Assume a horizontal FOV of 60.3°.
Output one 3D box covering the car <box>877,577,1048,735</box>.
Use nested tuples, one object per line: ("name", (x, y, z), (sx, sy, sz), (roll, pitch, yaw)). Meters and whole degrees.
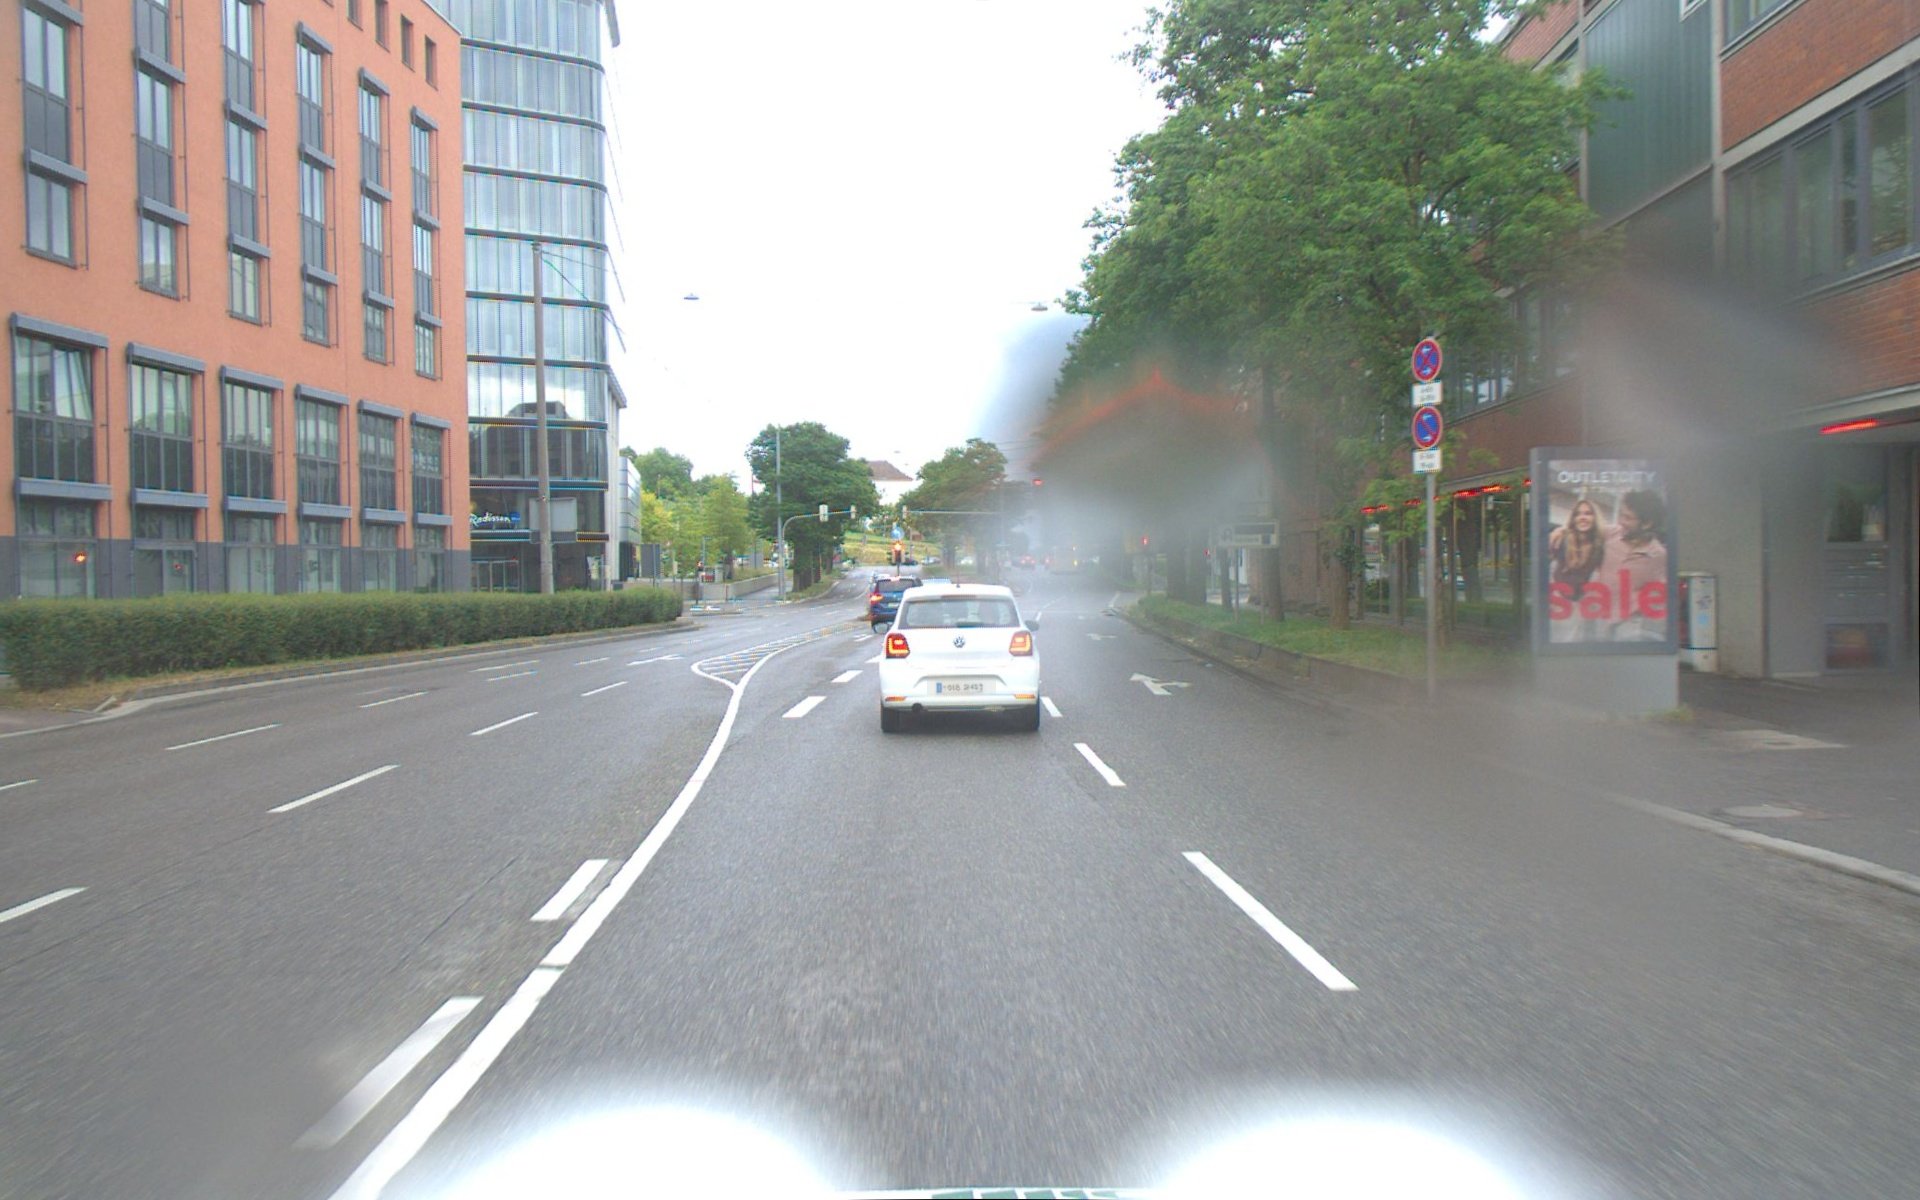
("car", (-0.003, 0.512, 17.853), (1.637, 1.499, 3.779), (-1, 1, -1))

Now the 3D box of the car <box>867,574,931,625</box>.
("car", (-2.009, -0.034, 55.441), (1.952, 1.601, 4.000), (-1, 1, 1))
